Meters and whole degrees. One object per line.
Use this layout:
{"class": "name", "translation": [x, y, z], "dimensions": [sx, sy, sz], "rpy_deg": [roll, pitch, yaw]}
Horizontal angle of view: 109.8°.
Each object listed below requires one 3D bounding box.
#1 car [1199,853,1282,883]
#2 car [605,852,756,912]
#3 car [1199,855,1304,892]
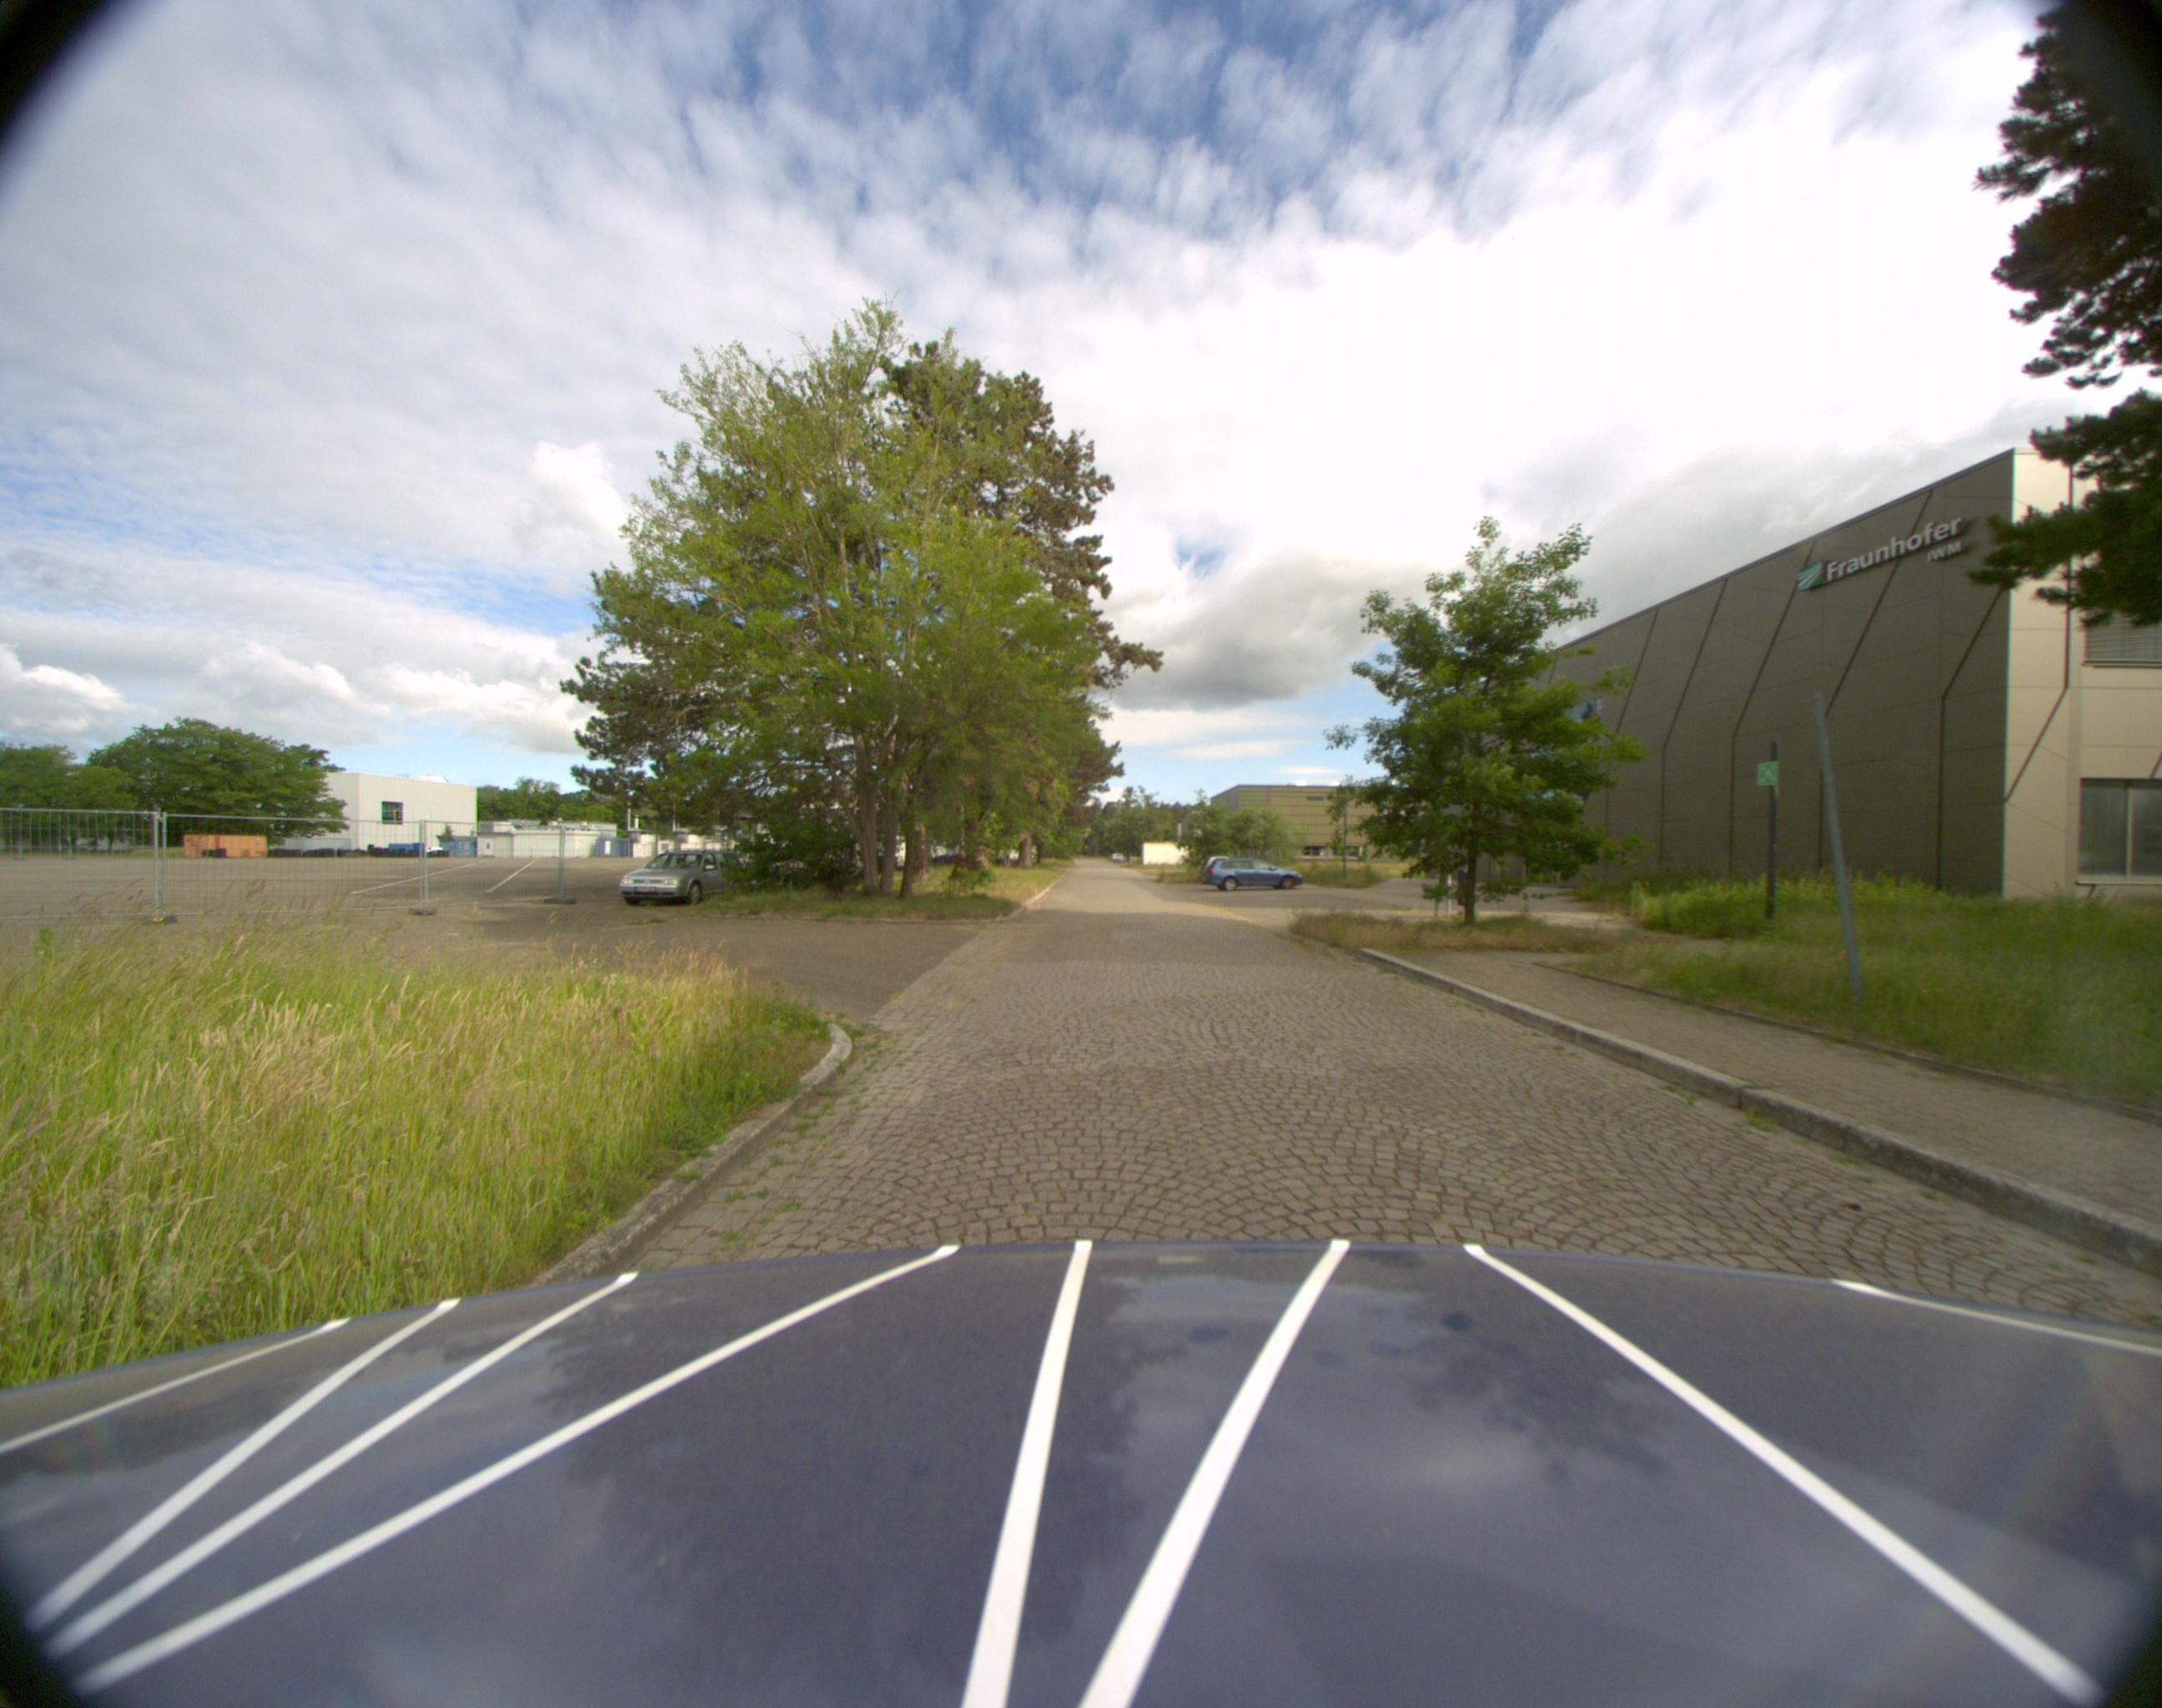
{"class": "car", "translation": [8.847, 0.784, 42.496], "dimensions": [4.400, 1.537, 1.842], "rpy_deg": [-2, 0, 7]}
{"class": "car", "translation": [-10.786, 0.676, 20.860], "dimensions": [1.759, 1.440, 4.327], "rpy_deg": [1, 0, 2]}
{"class": "car", "translation": [7.857, 0.872, 35.190], "dimensions": [4.404, 1.501, 1.716], "rpy_deg": [-2, 1, -2]}
